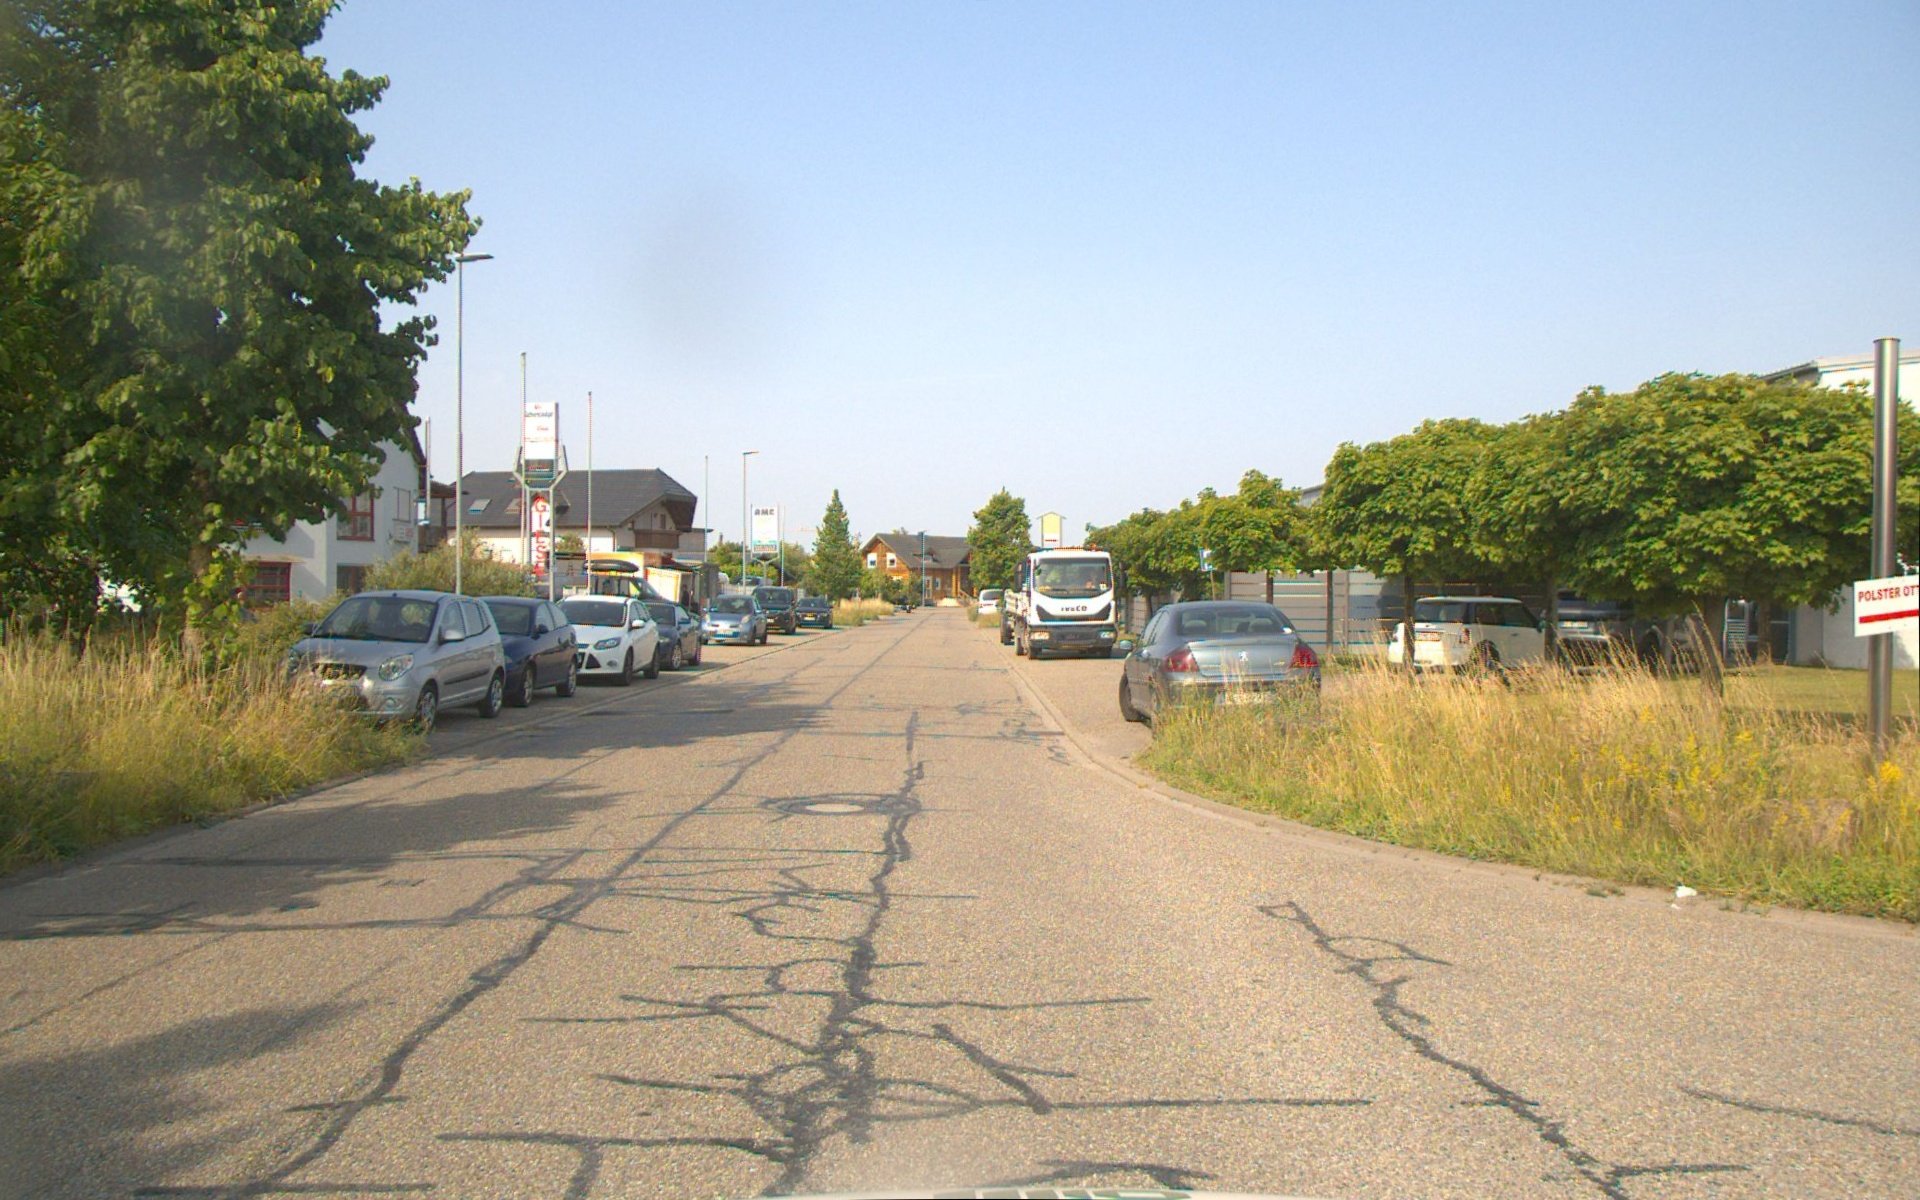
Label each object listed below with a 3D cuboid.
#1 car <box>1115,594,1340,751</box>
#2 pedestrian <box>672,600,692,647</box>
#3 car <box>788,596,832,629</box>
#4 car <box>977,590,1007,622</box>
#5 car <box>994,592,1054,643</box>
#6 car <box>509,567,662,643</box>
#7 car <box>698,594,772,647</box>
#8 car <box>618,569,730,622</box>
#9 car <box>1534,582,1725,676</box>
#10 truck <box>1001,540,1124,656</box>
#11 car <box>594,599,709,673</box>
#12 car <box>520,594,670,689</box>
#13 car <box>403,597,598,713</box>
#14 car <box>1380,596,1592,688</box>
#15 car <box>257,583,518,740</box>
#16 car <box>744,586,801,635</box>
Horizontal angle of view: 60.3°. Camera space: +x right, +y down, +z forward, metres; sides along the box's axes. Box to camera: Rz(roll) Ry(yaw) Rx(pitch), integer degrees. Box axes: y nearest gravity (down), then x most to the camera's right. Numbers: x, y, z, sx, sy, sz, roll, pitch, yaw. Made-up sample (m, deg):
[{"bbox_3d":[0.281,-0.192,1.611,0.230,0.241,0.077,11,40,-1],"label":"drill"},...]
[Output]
[{"bbox_3d":[2.849,0.717,18.547,1.757,1.544,4.423,0,0,-1],"label":"car"},{"bbox_3d":[-10.407,0.878,61.816,0.558,1.745,0.527,0,0,-38],"label":"pedestrian"},{"bbox_3d":[-6.997,0.564,77.519,1.763,1.411,3.637,2,0,-1],"label":"car"},{"bbox_3d":[2.019,0.361,104.307,1.800,1.957,3.756,-1,0,0],"label":"car"},{"bbox_3d":[2.051,0.540,54.028,1.758,1.588,3.999,0,0,-1],"label":"car"},{"bbox_3d":[-12.225,0.160,54.197,4.530,2.459,2.000,0,0,2],"label":"car"},{"bbox_3d":[-6.883,0.604,50.825,1.599,1.544,3.606,2,0,2],"label":"car"},{"bbox_3d":[-14.781,-0.243,85.524,5.050,2.631,2.577,-1,0,20],"label":"car"},{"bbox_3d":[12.411,0.519,30.498,1.660,1.617,4.500,1,0,45],"label":"car"},{"bbox_3d":[2.504,-0.050,42.276,2.312,2.728,6.506,0,0,-4],"label":"truck"},{"bbox_3d":[-6.436,0.702,34.911,1.600,1.411,4.369,2,0,0],"label":"car"},{"bbox_3d":[-6.287,0.669,28.934,1.649,1.495,4.253,2,0,0],"label":"car"},{"bbox_3d":[-6.431,0.723,23.582,1.546,1.469,3.964,2,0,1],"label":"car"},{"bbox_3d":[8.699,0.639,27.235,3.663,1.404,1.663,0,0,-40],"label":"car"},{"bbox_3d":[-6.415,0.634,18.935,1.534,1.565,3.689,2,0,2],"label":"car"},{"bbox_3d":[-7.315,0.401,64.840,1.763,1.805,4.202,2,0,-1],"label":"car"}]
